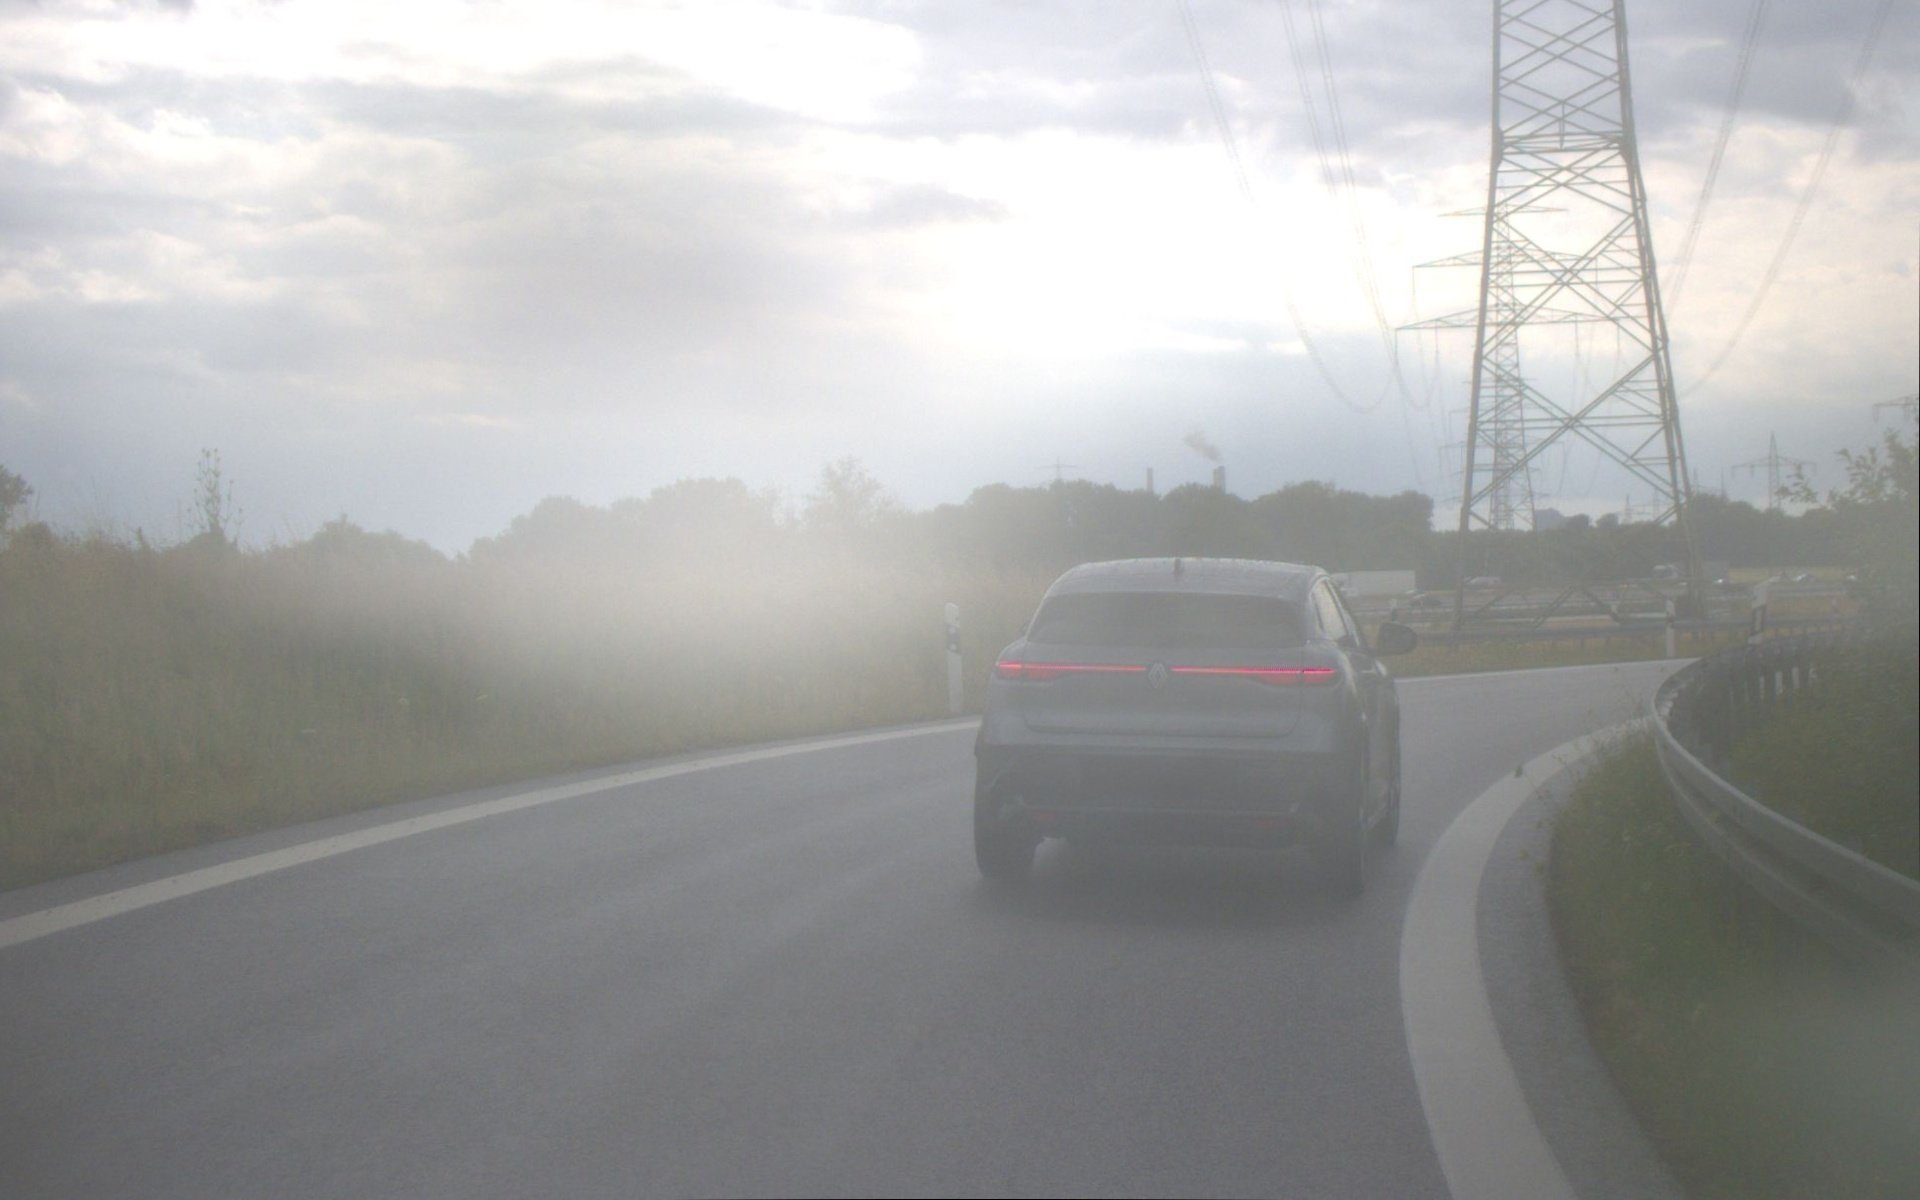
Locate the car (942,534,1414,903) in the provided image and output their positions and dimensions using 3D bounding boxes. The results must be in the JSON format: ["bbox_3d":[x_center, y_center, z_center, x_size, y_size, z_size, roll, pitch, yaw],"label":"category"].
[{"bbox_3d":[1.224,0.480,17.294,1.994,1.561,4.148,1,1,8],"label":"car"}]

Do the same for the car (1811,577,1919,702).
[{"bbox_3d":[16.125,0.641,58.770,2.123,2.011,5.527,-2,0,23],"label":"car"}]
